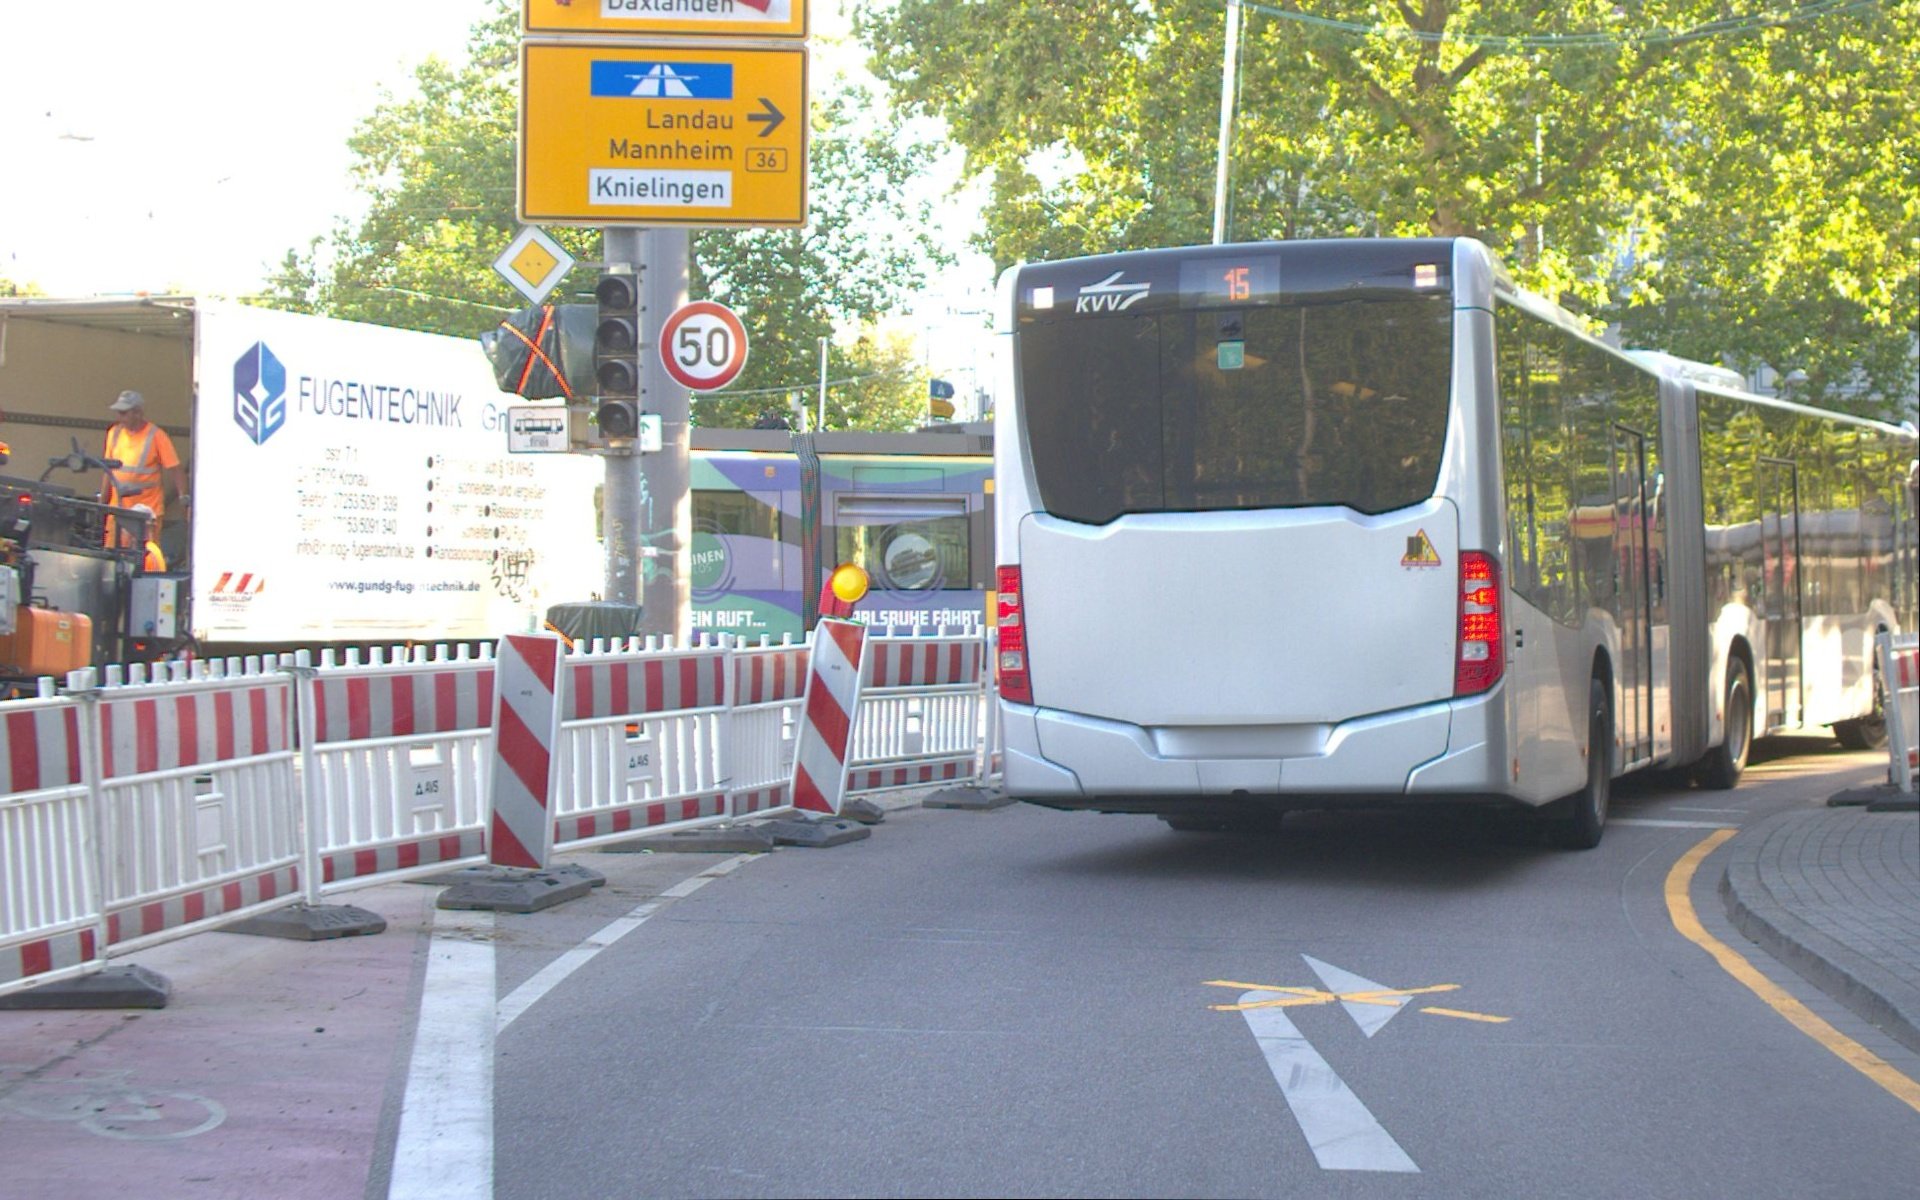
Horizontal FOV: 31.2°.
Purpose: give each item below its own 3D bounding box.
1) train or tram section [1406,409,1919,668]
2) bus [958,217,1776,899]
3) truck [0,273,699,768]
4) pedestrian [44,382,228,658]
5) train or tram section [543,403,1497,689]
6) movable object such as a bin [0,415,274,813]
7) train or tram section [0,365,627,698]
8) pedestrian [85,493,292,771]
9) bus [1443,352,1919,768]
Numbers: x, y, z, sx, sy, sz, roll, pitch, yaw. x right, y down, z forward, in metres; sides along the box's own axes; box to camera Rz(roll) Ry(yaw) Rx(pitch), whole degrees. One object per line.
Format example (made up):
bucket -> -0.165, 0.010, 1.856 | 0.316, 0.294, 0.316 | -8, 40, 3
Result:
train or tram section -> 13.247, -0.804, 49.521 | 13.286, 3.507, 2.650 | 1, 0, -9
bus -> 3.061, -0.272, 21.281 | 2.736, 3.128, 10.693 | 0, 1, 19
truck -> -5.485, -0.621, 29.171 | 2.815, 3.529, 8.973 | 1, 1, 22
pedestrian -> -6.130, -0.600, 25.626 | 0.937, 2.006, 1.000 | 1, 2, 20
train or tram section -> 0.962, -0.612, 46.227 | 12.739, 3.537, 2.738 | 1, 0, -22
movable object such as a bin -> -6.279, 0.045, 19.872 | 1.996, 2.249, 5.202 | 2, 1, 21
train or tram section -> -9.767, -0.720, 38.845 | 2.857, 3.521, 13.362 | 1, 0, 43
pedestrian -> -5.115, 0.198, 22.853 | 0.973, 1.792, 1.069 | 1, 1, 12
bus -> 6.794, -0.365, 30.249 | 2.712, 3.096, 8.968 | 0, 1, 24
